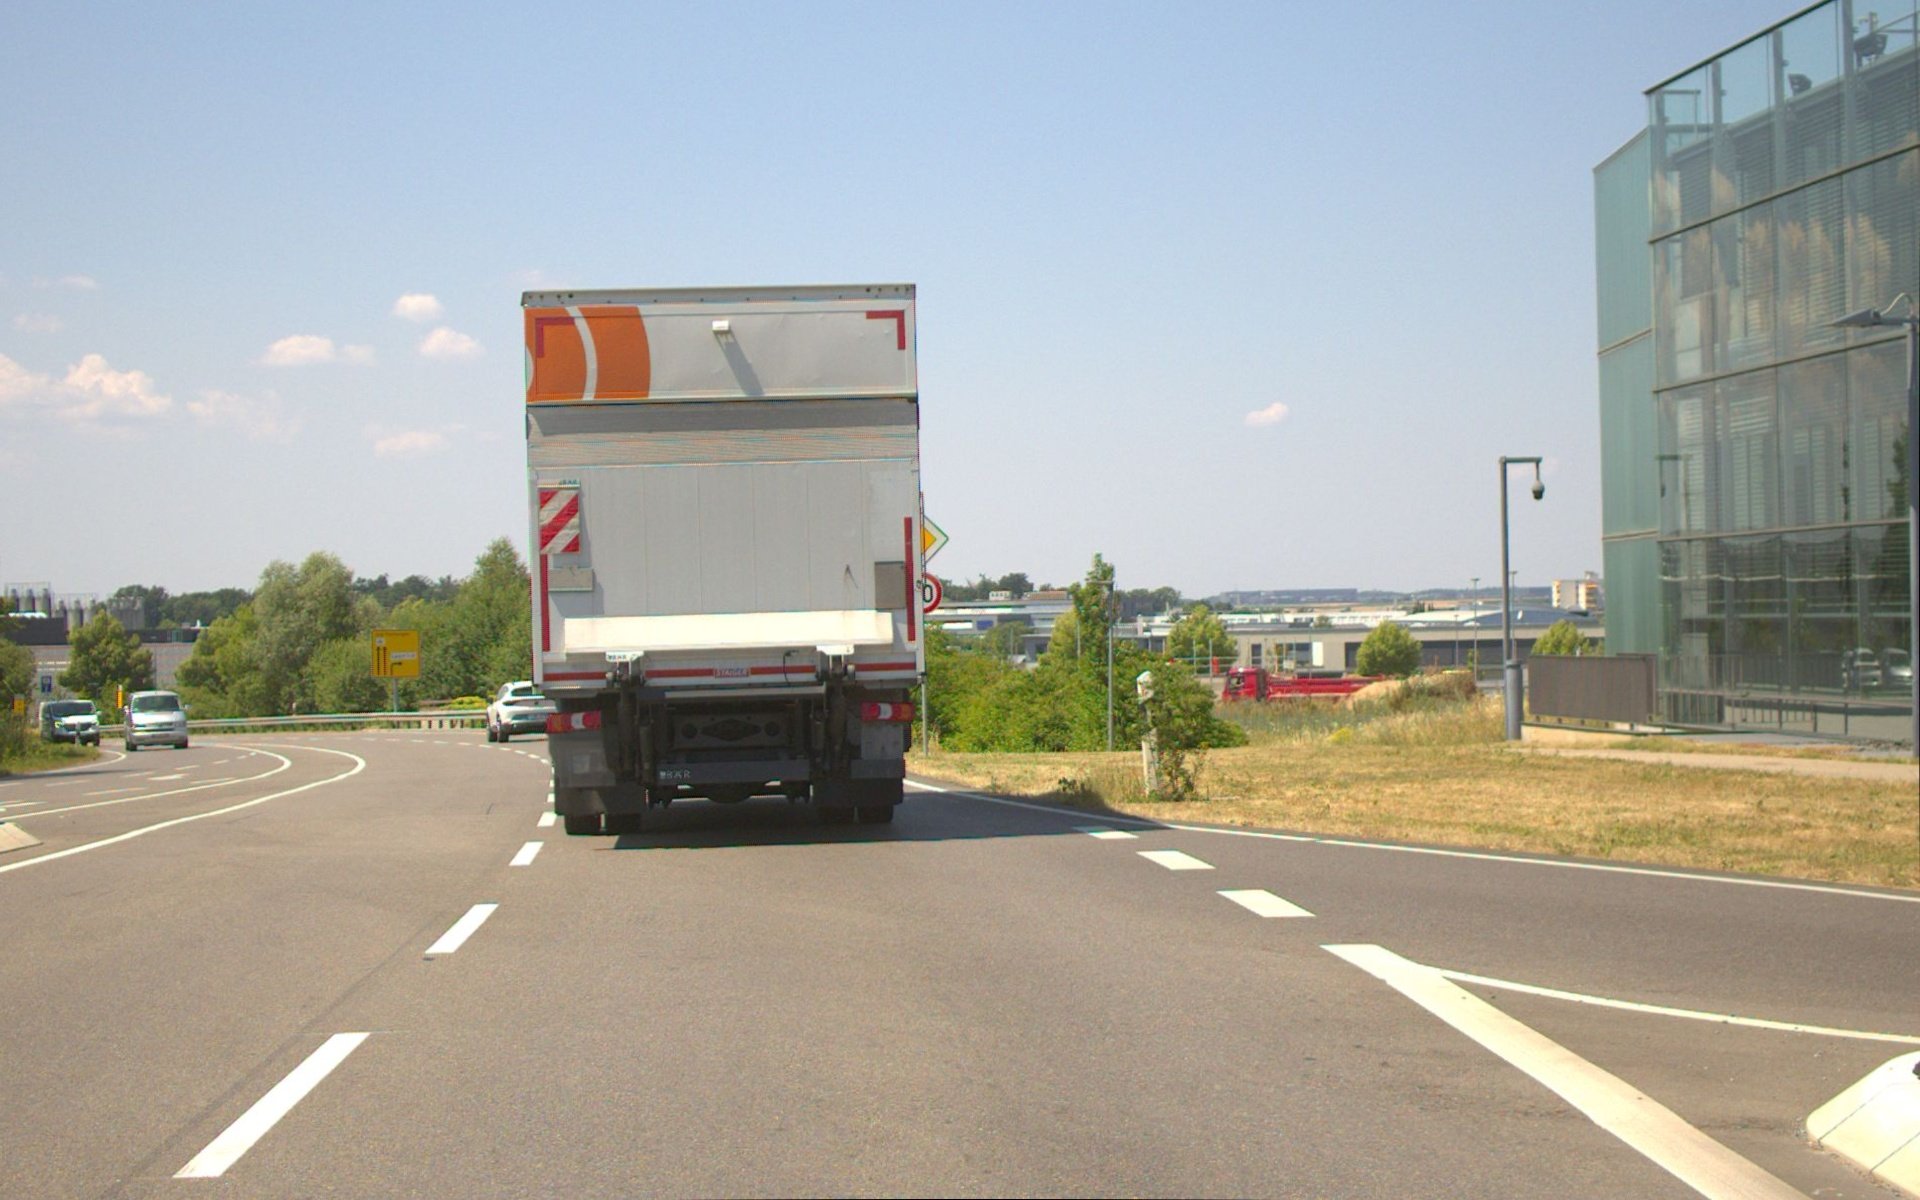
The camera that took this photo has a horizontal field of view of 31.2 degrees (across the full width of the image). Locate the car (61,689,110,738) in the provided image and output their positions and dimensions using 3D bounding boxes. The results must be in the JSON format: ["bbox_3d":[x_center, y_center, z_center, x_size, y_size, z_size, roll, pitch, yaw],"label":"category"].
[{"bbox_3d":[-36.045,4.665,141.663,1.802,1.834,4.001,1,0,-16],"label":"car"}]

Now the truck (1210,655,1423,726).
[{"bbox_3d":[17.996,4.555,173.672,10.375,3.208,2.454,1,0,22],"label":"truck"}]

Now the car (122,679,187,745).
[{"bbox_3d":[-26.251,3.630,111.946,1.802,1.964,4.001,1,0,-16],"label":"car"}]

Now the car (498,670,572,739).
[{"bbox_3d":[-10.732,2.630,86.917,1.802,1.551,4.001,1,0,-7],"label":"car"}]

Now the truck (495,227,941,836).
[{"bbox_3d":[-1.949,-0.405,26.709,2.769,3.847,9.371,-1,0,-5],"label":"truck"}]
